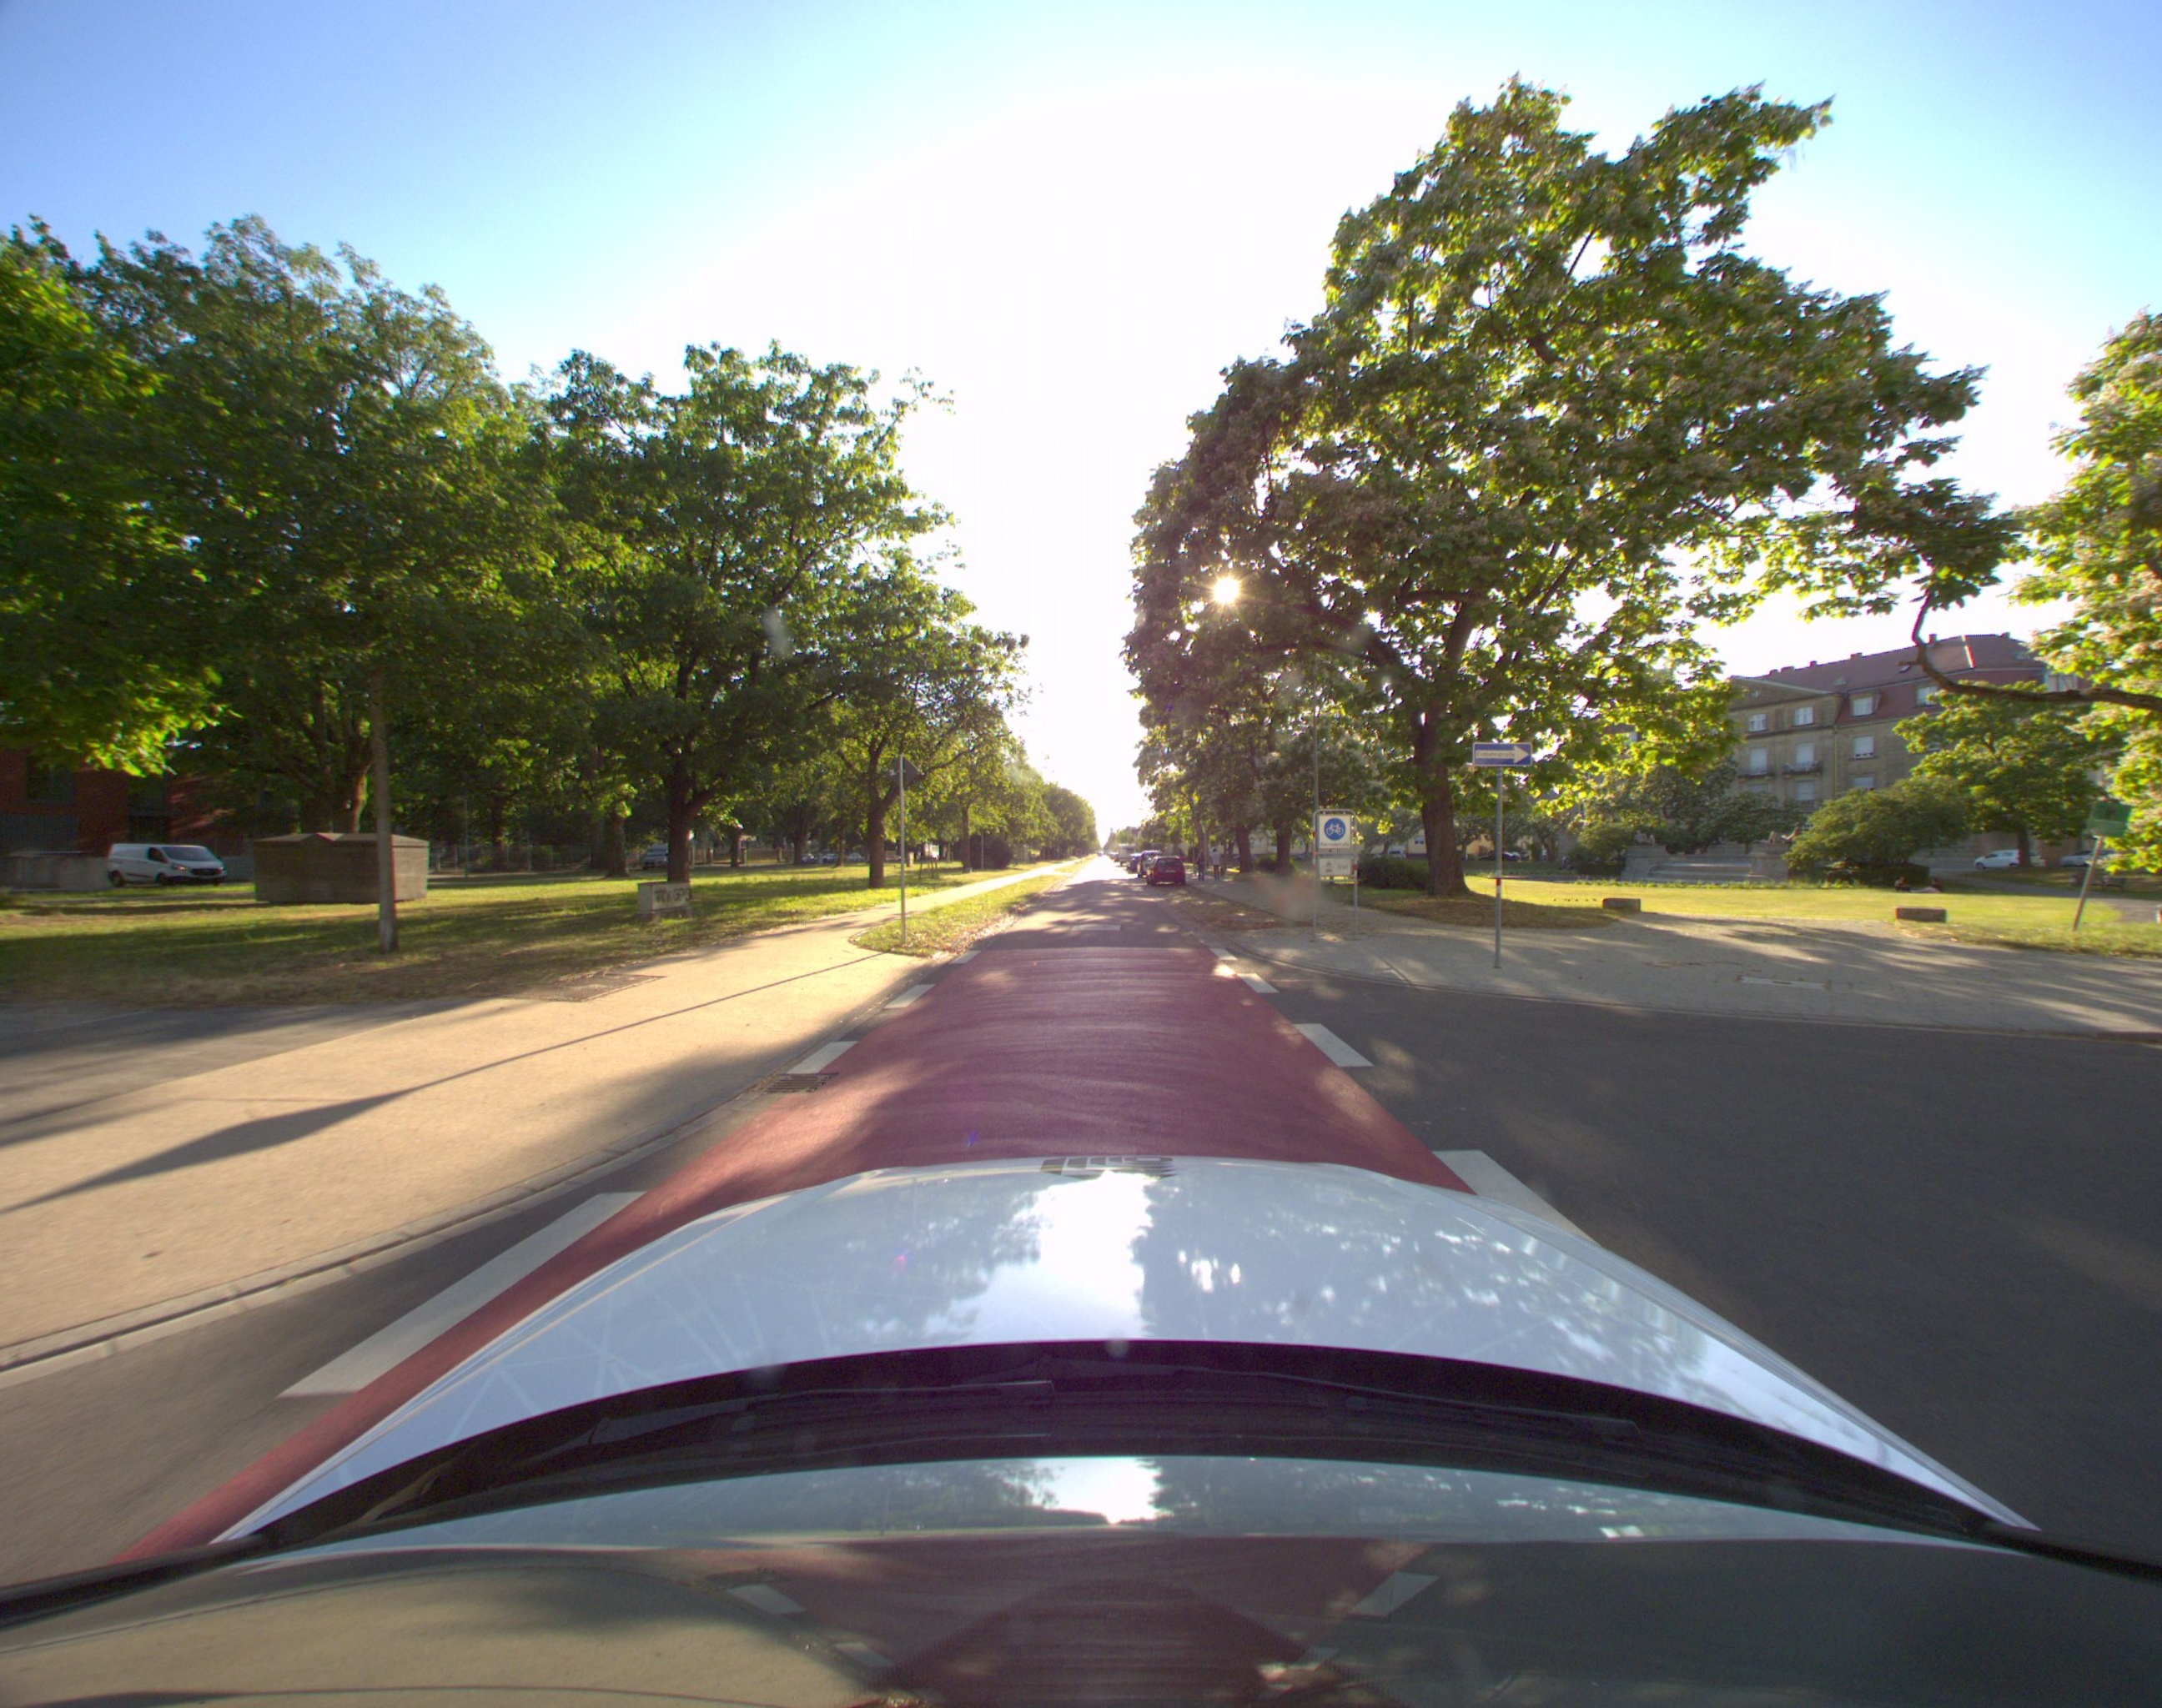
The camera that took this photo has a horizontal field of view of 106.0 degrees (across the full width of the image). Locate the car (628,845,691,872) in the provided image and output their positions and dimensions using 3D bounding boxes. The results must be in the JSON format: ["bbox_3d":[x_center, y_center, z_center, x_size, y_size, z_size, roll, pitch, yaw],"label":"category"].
[{"bbox_3d":[-40.152,0.465,77.874,2.712,2.463,6.318,-1,0,0],"label":"car"}]

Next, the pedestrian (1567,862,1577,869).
[{"bbox_3d":[52.144,1.200,86.504,0.585,0.794,0.665,-1,-1,-10],"label":"pedestrian"}]

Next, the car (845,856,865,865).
[{"bbox_3d":[-37.988,1.114,136.776,1.986,1.508,4.117,-1,0,2],"label":"car"}]

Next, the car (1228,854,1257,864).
[{"bbox_3d":[24.295,0.813,122.528,4.162,1.463,1.700,-1,-1,16],"label":"car"}]

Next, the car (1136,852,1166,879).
[{"bbox_3d":[4.725,0.744,55.437,1.672,1.740,4.515,-1,0,1],"label":"car"}]

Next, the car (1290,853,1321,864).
[{"bbox_3d":[34.616,0.687,125.706,4.473,1.569,1.890,-1,-1,20],"label":"car"}]

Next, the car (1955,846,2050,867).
[{"bbox_3d":[67.019,0.189,59.352,1.803,1.417,4.962,-1,0,9],"label":"car"}]

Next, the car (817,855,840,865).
[{"bbox_3d":[-38.704,0.975,125.003,1.986,1.508,4.117,-1,0,2],"label":"car"}]

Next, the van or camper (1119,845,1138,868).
[{"bbox_3d":[6.303,0.334,108.384,2.226,2.904,5.673,-1,-1,1],"label":"van or camper"}]

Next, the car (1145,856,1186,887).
[{"bbox_3d":[4.272,0.872,41.584,1.672,1.486,4.810,-1,0,1],"label":"car"}]

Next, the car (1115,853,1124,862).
[{"bbox_3d":[7.068,0.594,149.710,1.620,1.669,4.250,-1,0,1],"label":"car"}]

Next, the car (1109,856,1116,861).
[{"bbox_3d":[7.952,1.148,203.507,1.620,1.410,4.250,-1,0,1],"label":"car"}]

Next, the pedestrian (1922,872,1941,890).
[{"bbox_3d":[44.280,1.400,42.406,0.571,0.881,0.681,0,0,39],"label":"pedestrian"}]

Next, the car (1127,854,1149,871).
[{"bbox_3d":[5.352,0.794,77.109,1.726,1.551,4.422,-1,0,0],"label":"car"}]

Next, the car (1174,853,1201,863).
[{"bbox_3d":[17.018,0.588,130.111,4.174,1.530,2.003,-1,-1,5],"label":"car"}]

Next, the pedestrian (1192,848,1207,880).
[{"bbox_3d":[6.327,0.526,43.504,0.750,1.736,0.732,0,0,2],"label":"pedestrian"}]

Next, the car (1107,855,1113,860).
[{"bbox_3d":[8.863,1.163,251.214,1.620,1.410,4.250,-1,0,1],"label":"car"}]

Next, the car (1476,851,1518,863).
[{"bbox_3d":[53.032,0.365,103.823,1.889,1.453,4.319,0,-1,-36],"label":"car"}]

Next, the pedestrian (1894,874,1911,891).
[{"bbox_3d":[43.669,1.502,43.298,0.571,0.881,0.681,0,0,39],"label":"pedestrian"}]

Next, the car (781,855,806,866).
[{"bbox_3d":[-40.111,0.932,113.753,1.986,1.508,4.002,-1,0,2],"label":"car"}]

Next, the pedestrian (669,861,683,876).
[{"bbox_3d":[-26.570,0.927,53.434,0.546,0.987,0.610,-1,-1,2],"label":"pedestrian"}]

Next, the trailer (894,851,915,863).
[{"bbox_3d":[-36.930,0.597,170.555,2.449,2.489,7.053,-1,0,2],"label":"trailer"}]

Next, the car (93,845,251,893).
[{"bbox_3d":[-42.073,0.653,37.763,4.921,2.114,2.686,0,0,10],"label":"car"}]

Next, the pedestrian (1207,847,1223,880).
[{"bbox_3d":[7.160,0.514,43.587,0.722,1.736,0.732,0,0,2],"label":"pedestrian"}]

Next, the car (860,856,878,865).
[{"bbox_3d":[-37.932,1.180,145.708,1.986,1.508,4.117,-1,0,2],"label":"car"}]

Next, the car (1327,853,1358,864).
[{"bbox_3d":[37.603,0.614,117.162,3.949,1.552,1.620,-1,-1,29],"label":"car"}]

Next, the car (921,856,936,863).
[{"bbox_3d":[-37.628,1.344,201.174,2.497,1.508,4.915,-1,0,2],"label":"car"}]

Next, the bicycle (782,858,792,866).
[{"bbox_3d":[-40.811,1.096,113.123,0.655,1.175,2.332,-1,-1,-1],"label":"bicycle"}]

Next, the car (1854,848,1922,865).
[{"bbox_3d":[68.304,0.227,69.042,1.806,1.417,4.098,-1,0,2],"label":"car"}]

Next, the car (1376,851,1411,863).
[{"bbox_3d":[45.670,0.403,119.105,4.467,1.746,1.892,-1,-1,36],"label":"car"}]

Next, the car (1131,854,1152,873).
[{"bbox_3d":[5.215,0.812,70.856,1.725,1.551,4.278,-1,0,2],"label":"car"}]
